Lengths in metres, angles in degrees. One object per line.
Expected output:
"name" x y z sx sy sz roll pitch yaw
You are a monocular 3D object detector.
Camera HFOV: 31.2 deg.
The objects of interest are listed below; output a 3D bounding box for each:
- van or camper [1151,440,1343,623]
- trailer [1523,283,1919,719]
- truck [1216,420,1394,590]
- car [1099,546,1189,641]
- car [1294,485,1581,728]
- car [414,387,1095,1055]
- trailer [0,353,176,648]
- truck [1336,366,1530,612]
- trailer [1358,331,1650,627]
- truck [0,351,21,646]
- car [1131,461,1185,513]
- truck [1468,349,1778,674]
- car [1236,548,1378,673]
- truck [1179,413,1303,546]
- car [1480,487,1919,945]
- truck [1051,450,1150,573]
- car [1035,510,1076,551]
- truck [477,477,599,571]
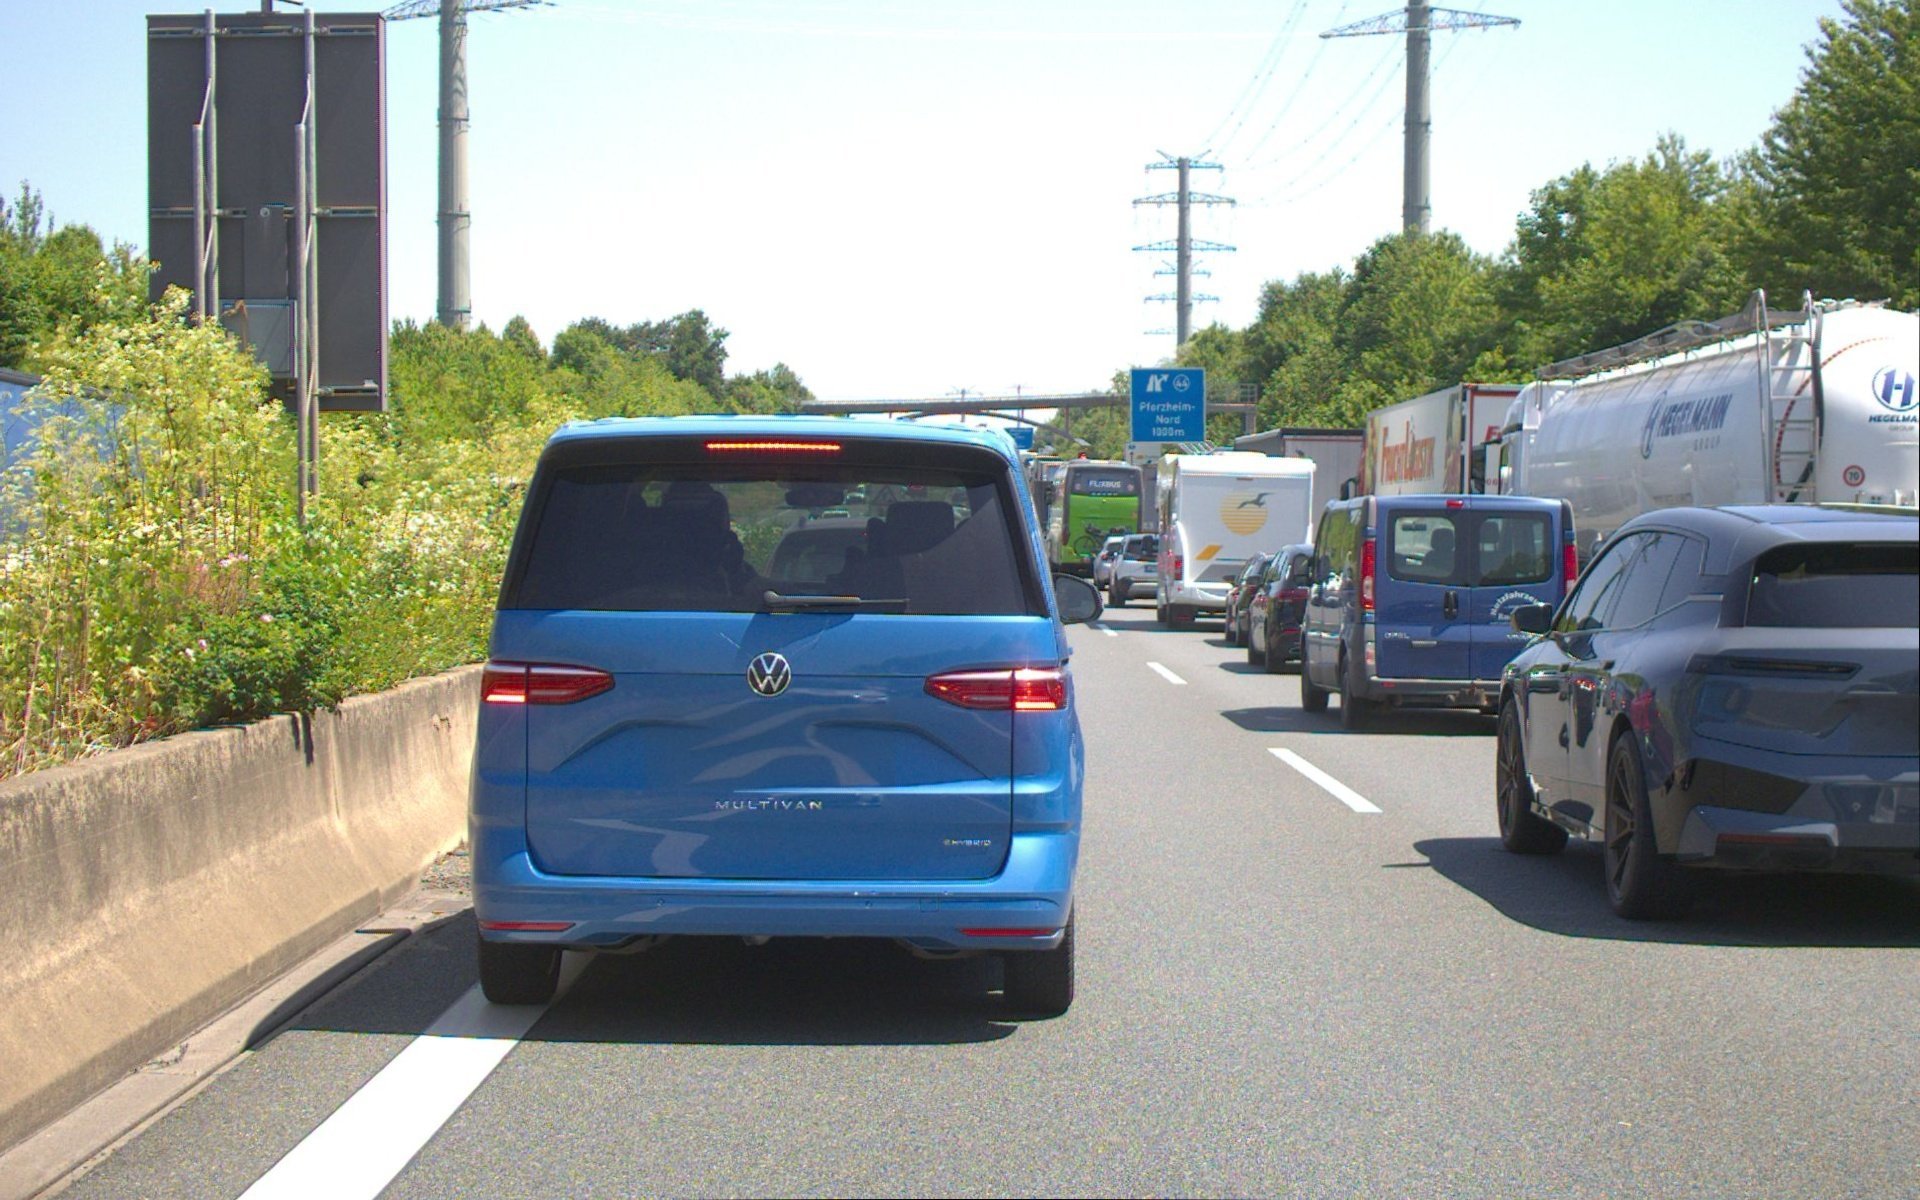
"van or camper" 4.963 -1.177 60.666 2.957 3.011 7.102 0 1 2
"trailer" 8.264 -0.964 36.029 2.761 3.831 11.487 0 1 0
"truck" 8.222 -2.192 83.951 3.006 3.753 15.713 0 1 1
"car" 3.996 -0.152 75.006 1.836 1.991 4.000 -1 0 2
"car" 4.028 0.042 29.628 1.923 1.919 4.235 -1 0 1
"car" -0.587 0.308 11.924 1.920 1.880 4.000 1 1 0
"trailer" -15.146 -1.490 53.933 3.012 4.213 10.981 0 1 1
"truck" 8.833 -2.049 64.702 2.912 4.453 5.143 0 1 0
"trailer" 8.880 -1.914 57.788 2.912 4.453 12.155 0 1 0
"truck" -15.266 -1.439 46.811 3.012 4.213 6.686 0 1 1
"car" 8.116 -4.624 141.252 1.993 2.007 4.000 0 1 0
"truck" 8.216 -1.082 43.278 2.793 3.823 5.572 0 1 0
"car" 4.177 0.114 41.739 1.360 1.415 3.884 -1 0 1
"truck" 8.505 -3.562 105.515 2.895 3.753 13.345 0 1 1
"car" 3.612 0.424 15.143 1.999 1.709 4.625 0 0 1
"truck" 4.467 -2.785 111.102 2.895 3.753 10.140 0 1 1
"car" 4.997 -3.610 179.503 1.993 2.118 4.000 0 1 0
"truck" -15.373 -2.764 126.013 2.765 3.277 11.819 0 1 1
